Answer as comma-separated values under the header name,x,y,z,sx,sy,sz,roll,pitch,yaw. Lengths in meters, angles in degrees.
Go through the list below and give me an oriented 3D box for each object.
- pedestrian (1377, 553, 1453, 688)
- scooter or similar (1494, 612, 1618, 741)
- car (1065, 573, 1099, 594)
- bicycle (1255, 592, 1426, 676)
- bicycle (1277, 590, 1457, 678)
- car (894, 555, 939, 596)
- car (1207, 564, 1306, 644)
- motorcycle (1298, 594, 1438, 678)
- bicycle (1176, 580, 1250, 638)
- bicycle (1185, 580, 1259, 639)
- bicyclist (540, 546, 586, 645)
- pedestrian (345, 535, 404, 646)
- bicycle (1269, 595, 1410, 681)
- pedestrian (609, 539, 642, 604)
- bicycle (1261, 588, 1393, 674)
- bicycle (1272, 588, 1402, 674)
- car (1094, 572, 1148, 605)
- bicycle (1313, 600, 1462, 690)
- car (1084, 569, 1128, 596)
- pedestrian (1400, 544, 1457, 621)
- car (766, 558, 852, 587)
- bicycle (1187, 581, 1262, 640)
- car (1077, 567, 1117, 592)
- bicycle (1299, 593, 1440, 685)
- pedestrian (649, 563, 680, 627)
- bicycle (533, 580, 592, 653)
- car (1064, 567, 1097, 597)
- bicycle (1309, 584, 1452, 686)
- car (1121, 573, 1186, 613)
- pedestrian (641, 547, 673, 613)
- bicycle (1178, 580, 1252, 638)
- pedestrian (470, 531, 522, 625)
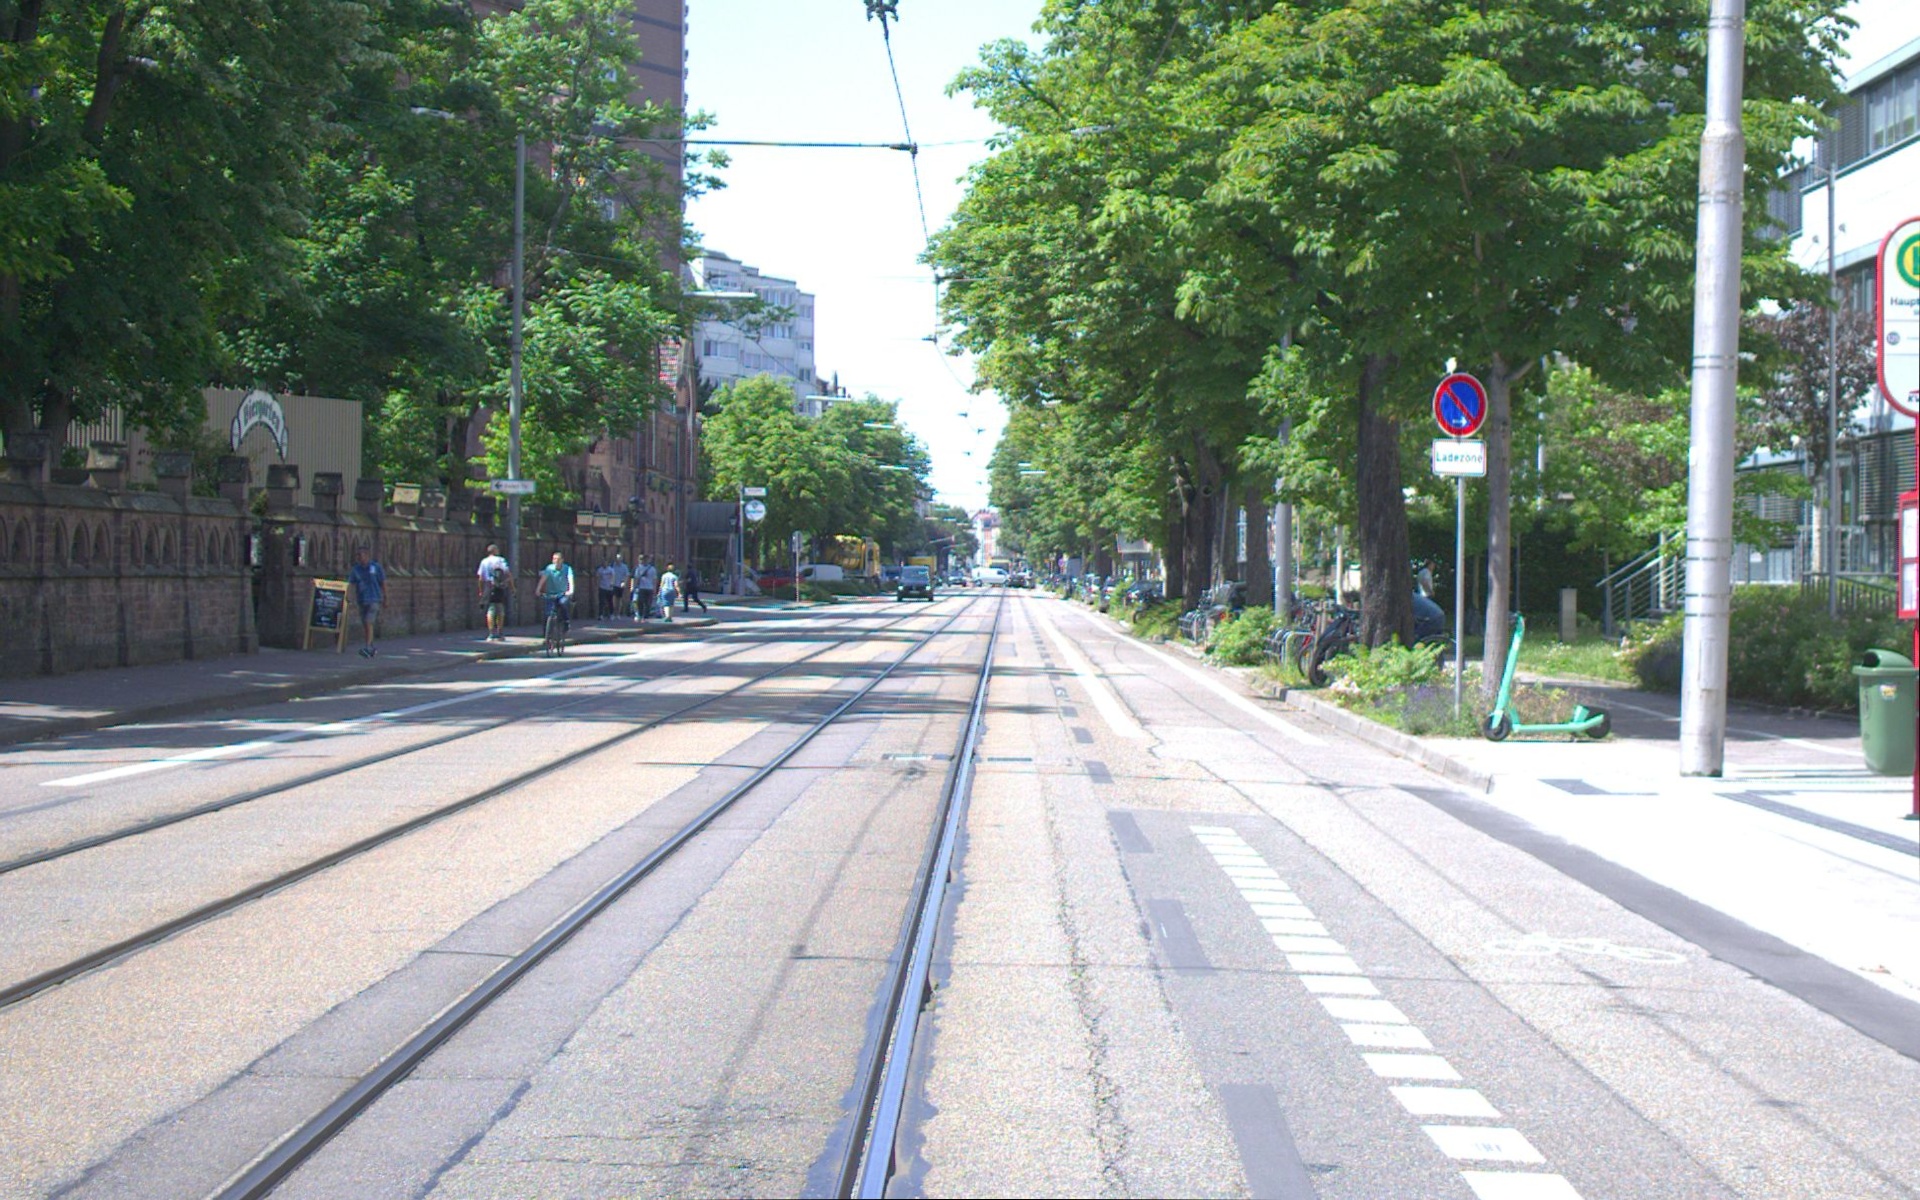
name,x,y,z,sx,sy,sz,roll,pitch,yaw
pedestrian,5.841,0.253,44.092,0.584,1.709,0.796,1,1,44
scooter or similar,5.394,0.688,31.116,1.058,1.152,0.370,0,0,2
car,7.520,-1.023,212.305,1.993,1.305,4.000,1,1,1
bicycle,5.674,0.505,51.352,2.511,1.205,0.741,1,0,6
bicycle,5.805,0.486,49.127,2.511,1.205,0.648,1,0,6
car,-2.219,-1.256,175.721,1.994,2.007,4.000,1,1,3
car,5.767,0.063,67.220,1.634,1.496,4.000,1,1,1
motorcycle,5.519,0.480,46.543,1.824,1.106,0.598,1,0,1
bicycle,5.501,0.188,74.745,1.564,1.237,0.437,1,0,3
bicycle,5.604,0.207,73.630,1.564,1.237,0.437,1,0,3
bicyclist,-6.758,-0.077,58.545,0.642,1.674,0.815,1,0,1
pedestrian,-9.225,-0.156,54.163,0.743,1.722,0.867,1,0,1
bicycle,5.503,0.549,49.890,1.997,1.205,0.662,1,0,6
pedestrian,-9.067,-0.772,93.217,0.743,1.722,0.867,1,0,1
bicycle,5.126,0.432,48.006,1.752,1.162,0.530,1,0,-2
bicycle,5.314,0.434,48.504,1.752,1.162,0.530,1,0,-2
car,6.438,-0.473,137.745,1.993,1.305,4.000,1,1,1
bicycle,5.377,0.567,43.250,1.788,1.098,0.532,1,0,-1
car,7.137,-0.872,168.429,1.993,1.305,4.000,1,1,1
pedestrian,11.286,-0.420,82.791,1.215,1.821,0.831,1,0,-2
car,-9.091,-1.654,207.206,4.728,1.711,2.000,0,1,-26
bicycle,5.627,0.221,73.126,1.564,1.237,0.437,1,0,3
car,7.225,-1.083,181.921,1.993,1.305,4.000,1,1,1
bicycle,5.352,0.506,44.993,1.752,1.162,0.530,1,0,-2
pedestrian,-8.096,-0.132,94.233,0.743,1.722,0.867,1,0,0
bicycle,-6.750,0.264,58.437,0.701,1.200,2.240,-1,1,1
car,7.767,-1.146,221.983,1.993,1.897,4.000,1,1,1
bicycle,5.430,0.453,44.423,1.752,1.266,0.530,1,0,-2
car,6.545,-0.246,116.503,1.993,1.305,4.000,1,1,1
pedestrian,-8.107,-0.539,92.046,0.743,1.722,0.867,1,0,1
bicycle,5.497,0.195,74.216,1.564,1.237,0.437,1,0,3
pedestrian,-8.794,-0.416,65.235,0.814,1.764,0.924,1,0,1
